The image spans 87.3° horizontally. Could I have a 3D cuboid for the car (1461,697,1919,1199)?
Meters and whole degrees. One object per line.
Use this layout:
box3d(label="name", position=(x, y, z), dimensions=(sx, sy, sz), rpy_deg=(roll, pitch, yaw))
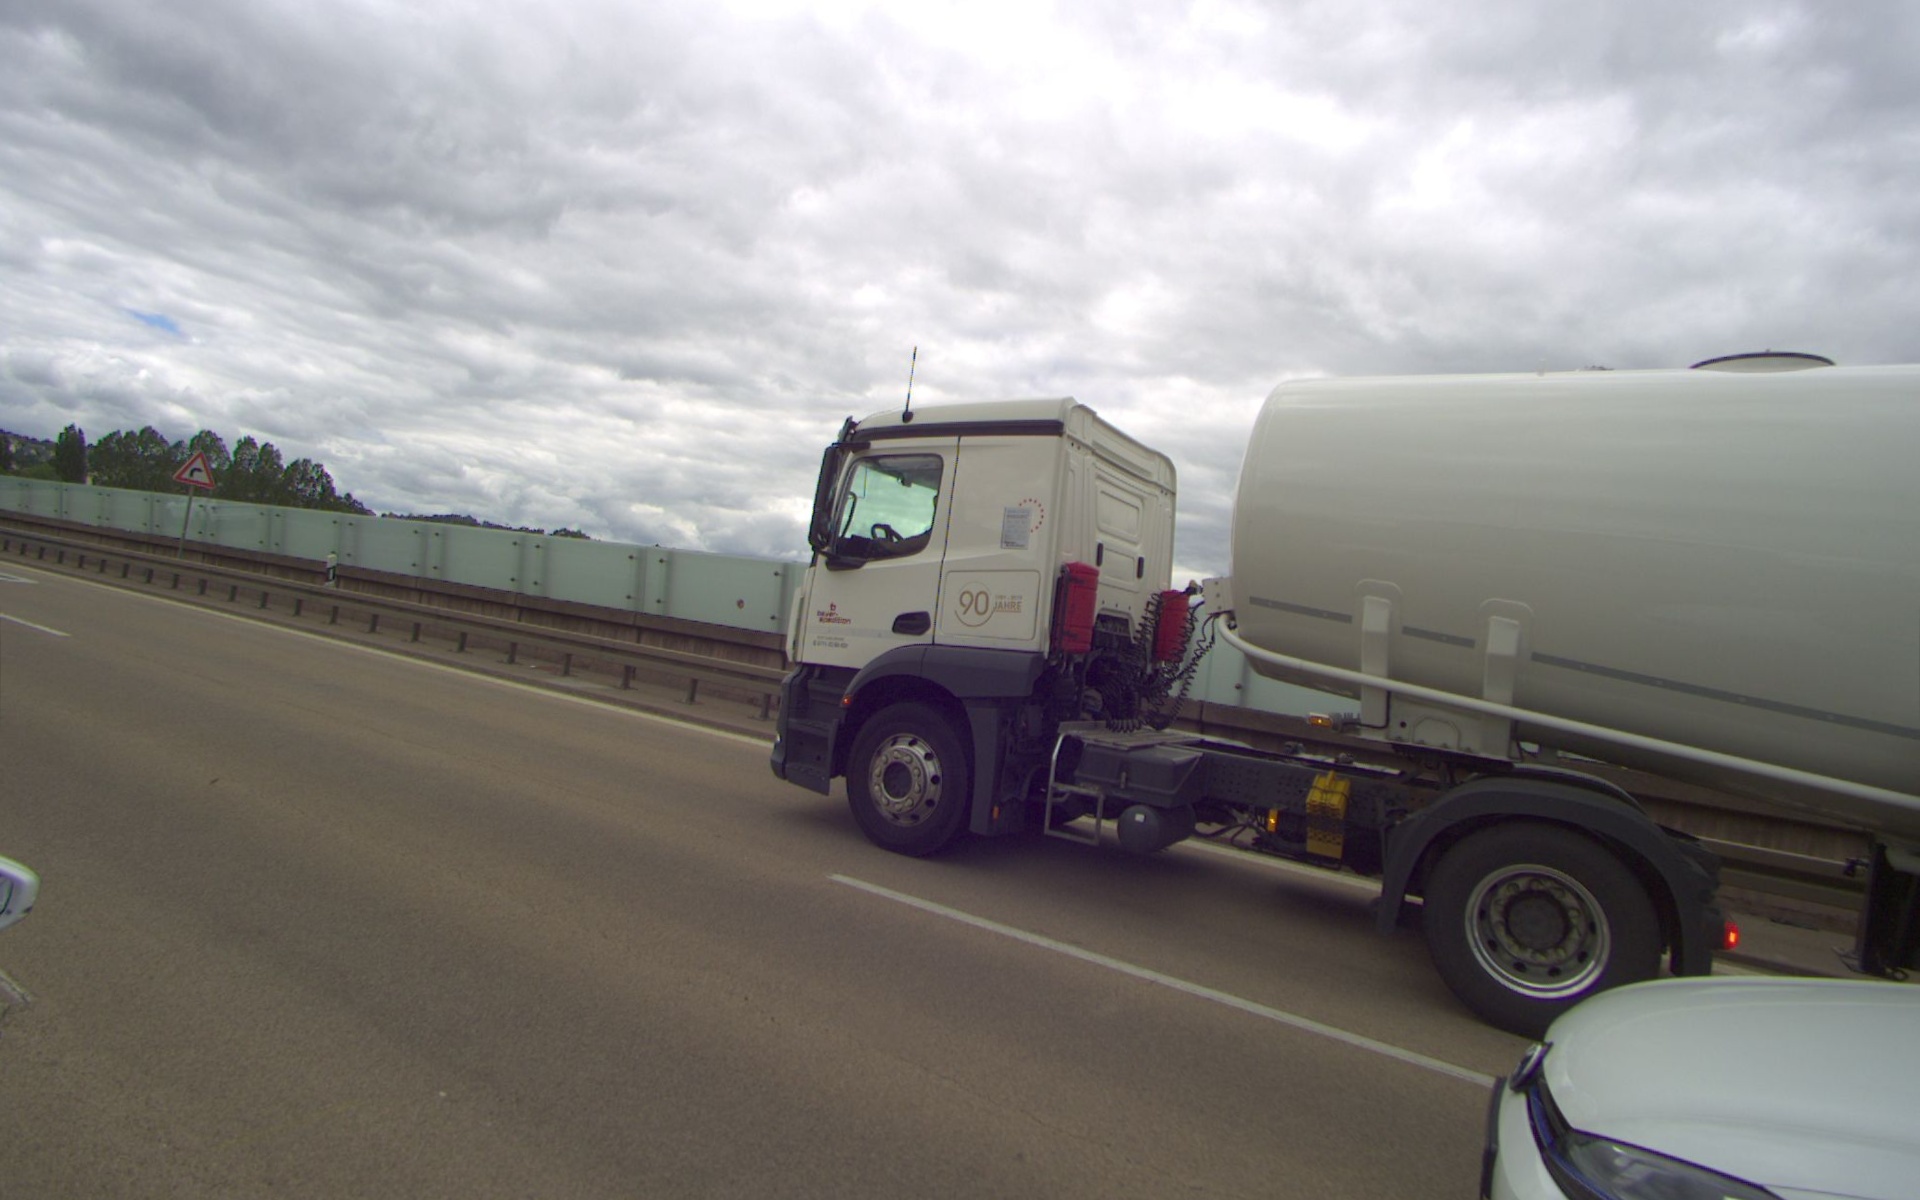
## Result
box3d(label="car", position=(3.014, 1.178, 1.442), dimensions=(4.004, 1.469, 1.757), rpy_deg=(7, 0, 31))

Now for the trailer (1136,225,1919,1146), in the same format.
box3d(label="trailer", position=(6.514, 0.651, 3.760), dimensions=(11.035, 3.585, 2.654), rpy_deg=(6, -1, 32))

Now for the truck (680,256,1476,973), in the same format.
box3d(label="truck", position=(0.809, -0.003, 7.369), dimensions=(4.823, 3.555, 2.635), rpy_deg=(5, -1, 32))
